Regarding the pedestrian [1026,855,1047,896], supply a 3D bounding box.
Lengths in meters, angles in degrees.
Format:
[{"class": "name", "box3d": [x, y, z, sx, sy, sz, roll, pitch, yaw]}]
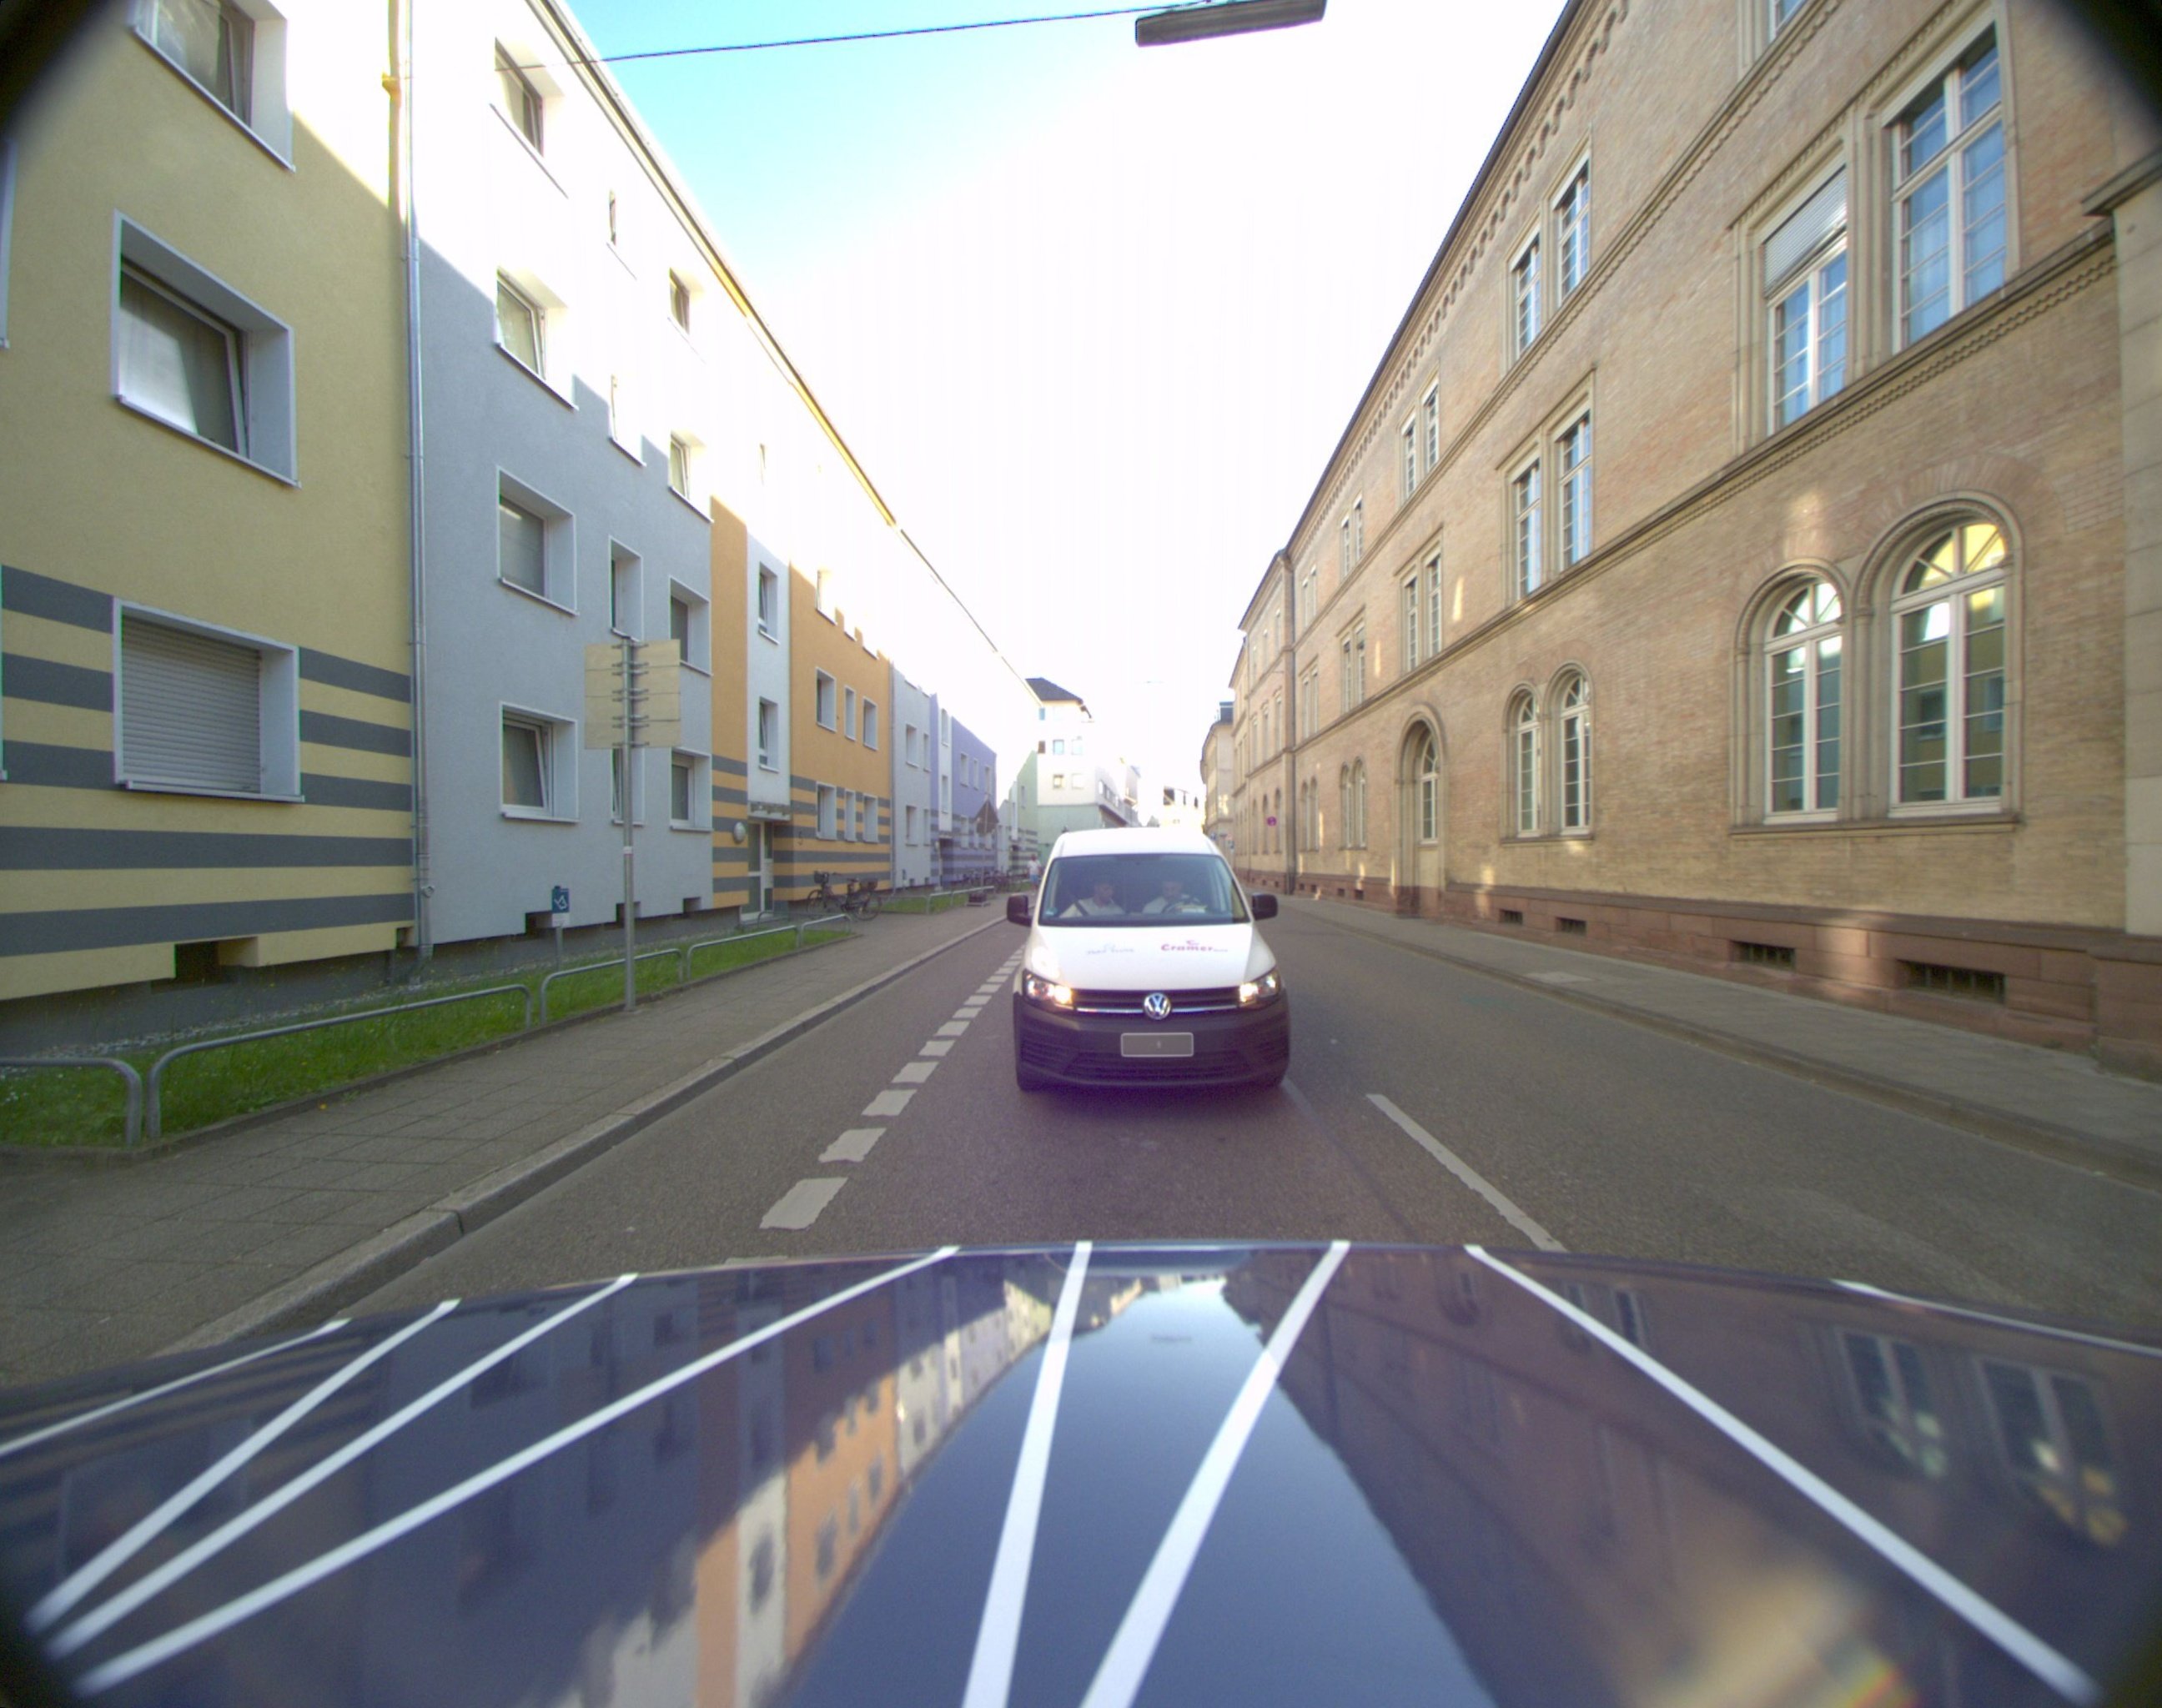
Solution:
[{"class": "pedestrian", "box3d": [-1.812, 0.854, 31.163, 0.705, 1.627, 0.833, 2, 1, 5]}]

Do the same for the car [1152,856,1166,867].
[{"class": "car", "box3d": [12.642, 1.213, 122.697, 1.997, 1.643, 4.231, -2, 1, 9]}]

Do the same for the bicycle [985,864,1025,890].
[{"class": "bicycle", "box3d": [-3.369, 1.012, 33.676, 1.676, 1.145, 0.484, 0, 0, 4]}]

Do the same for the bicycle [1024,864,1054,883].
[{"class": "bicycle", "box3d": [-2.514, 1.163, 46.047, 1.779, 1.145, 0.484, 0, 0, 0]}]

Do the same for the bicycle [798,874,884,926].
[{"class": "bicycle", "box3d": [-5.381, 1.020, 17.100, 1.780, 1.116, 0.484, 0, 0, -5]}]

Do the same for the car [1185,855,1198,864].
[{"class": "car", "box3d": [22.101, 1.110, 152.020, 1.996, 1.643, 4.233, -2, 1, 17]}]

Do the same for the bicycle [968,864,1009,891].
[{"class": "bicycle", "box3d": [-4.028, 1.028, 33.130, 1.676, 1.145, 0.484, 0, 0, 4]}]

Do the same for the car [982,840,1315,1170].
[{"class": "car", "box3d": [0.400, 0.786, 6.747, 1.769, 1.761, 5.331, -1, 1, 1]}]

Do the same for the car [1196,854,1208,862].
[{"class": "car", "box3d": [26.083, 0.828, 163.751, 1.996, 1.643, 4.233, -2, 1, 17]}]

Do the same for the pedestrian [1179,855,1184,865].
[{"class": "pedestrian", "box3d": [17.650, 1.034, 133.017, 0.704, 1.627, 0.833, 3, 2, 14]}]

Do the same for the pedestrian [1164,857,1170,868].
[{"class": "pedestrian", "box3d": [13.056, 1.260, 115.581, 0.705, 1.627, 0.833, 3, 2, 12]}]

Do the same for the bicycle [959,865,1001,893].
[{"class": "bicycle", "box3d": [-4.232, 1.055, 31.836, 1.676, 1.145, 0.484, 0, 0, 4]}]
